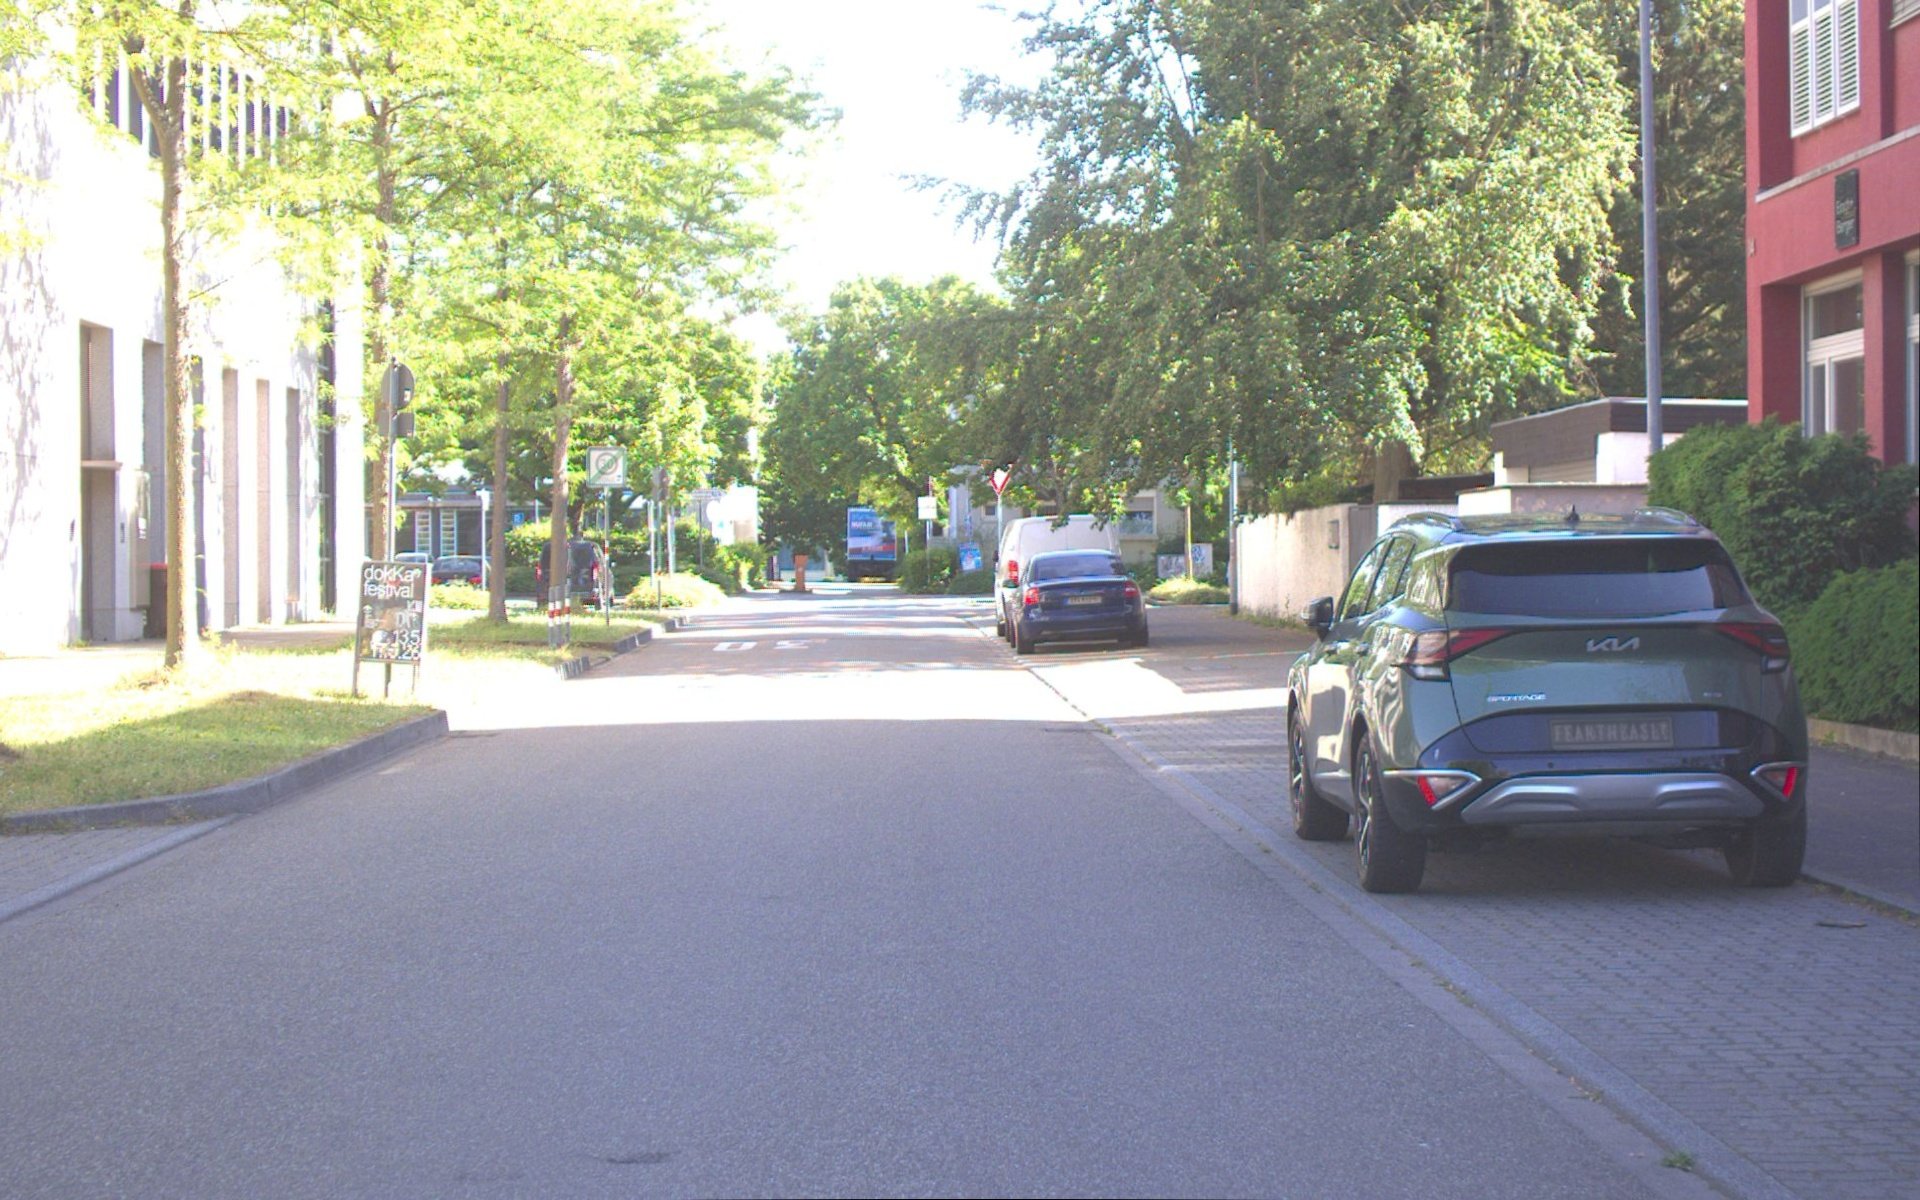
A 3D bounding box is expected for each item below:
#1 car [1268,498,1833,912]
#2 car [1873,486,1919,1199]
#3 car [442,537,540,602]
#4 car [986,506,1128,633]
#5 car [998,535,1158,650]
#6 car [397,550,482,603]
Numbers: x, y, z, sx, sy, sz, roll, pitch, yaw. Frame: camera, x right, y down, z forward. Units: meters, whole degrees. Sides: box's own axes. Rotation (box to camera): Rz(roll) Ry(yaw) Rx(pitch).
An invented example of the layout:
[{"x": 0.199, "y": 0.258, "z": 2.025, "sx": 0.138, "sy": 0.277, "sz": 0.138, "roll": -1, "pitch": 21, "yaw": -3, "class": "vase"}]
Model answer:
[{"x": 2.559, "y": 0.420, "z": 15.849, "sx": 1.855, "sy": 1.643, "sz": 4.000, "roll": -1, "pitch": 0, "yaw": -1, "class": "car"}, {"x": 2.759, "y": 0.631, "z": 4.778, "sx": 1.838, "sy": 1.628, "sz": 4.201, "roll": 0, "pitch": 1, "yaw": 0, "class": "car"}, {"x": -10.800, "y": -0.718, "z": 79.305, "sx": 1.993, "sy": 1.453, "sz": 3.794, "roll": 0, "pitch": 1, "yaw": -4, "class": "car"}, {"x": 1.489, "y": -0.499, "z": 54.252, "sx": 1.993, "sy": 1.828, "sz": 4.000, "roll": -3, "pitch": 1, "yaw": -1, "class": "car"}, {"x": 1.618, "y": -0.140, "z": 48.522, "sx": 1.993, "sy": 1.437, "sz": 4.000, "roll": -3, "pitch": 1, "yaw": -1, "class": "car"}, {"x": -13.628, "y": -0.623, "z": 90.143, "sx": 1.905, "sy": 1.337, "sz": 3.794, "roll": 0, "pitch": 1, "yaw": -4, "class": "car"}]
